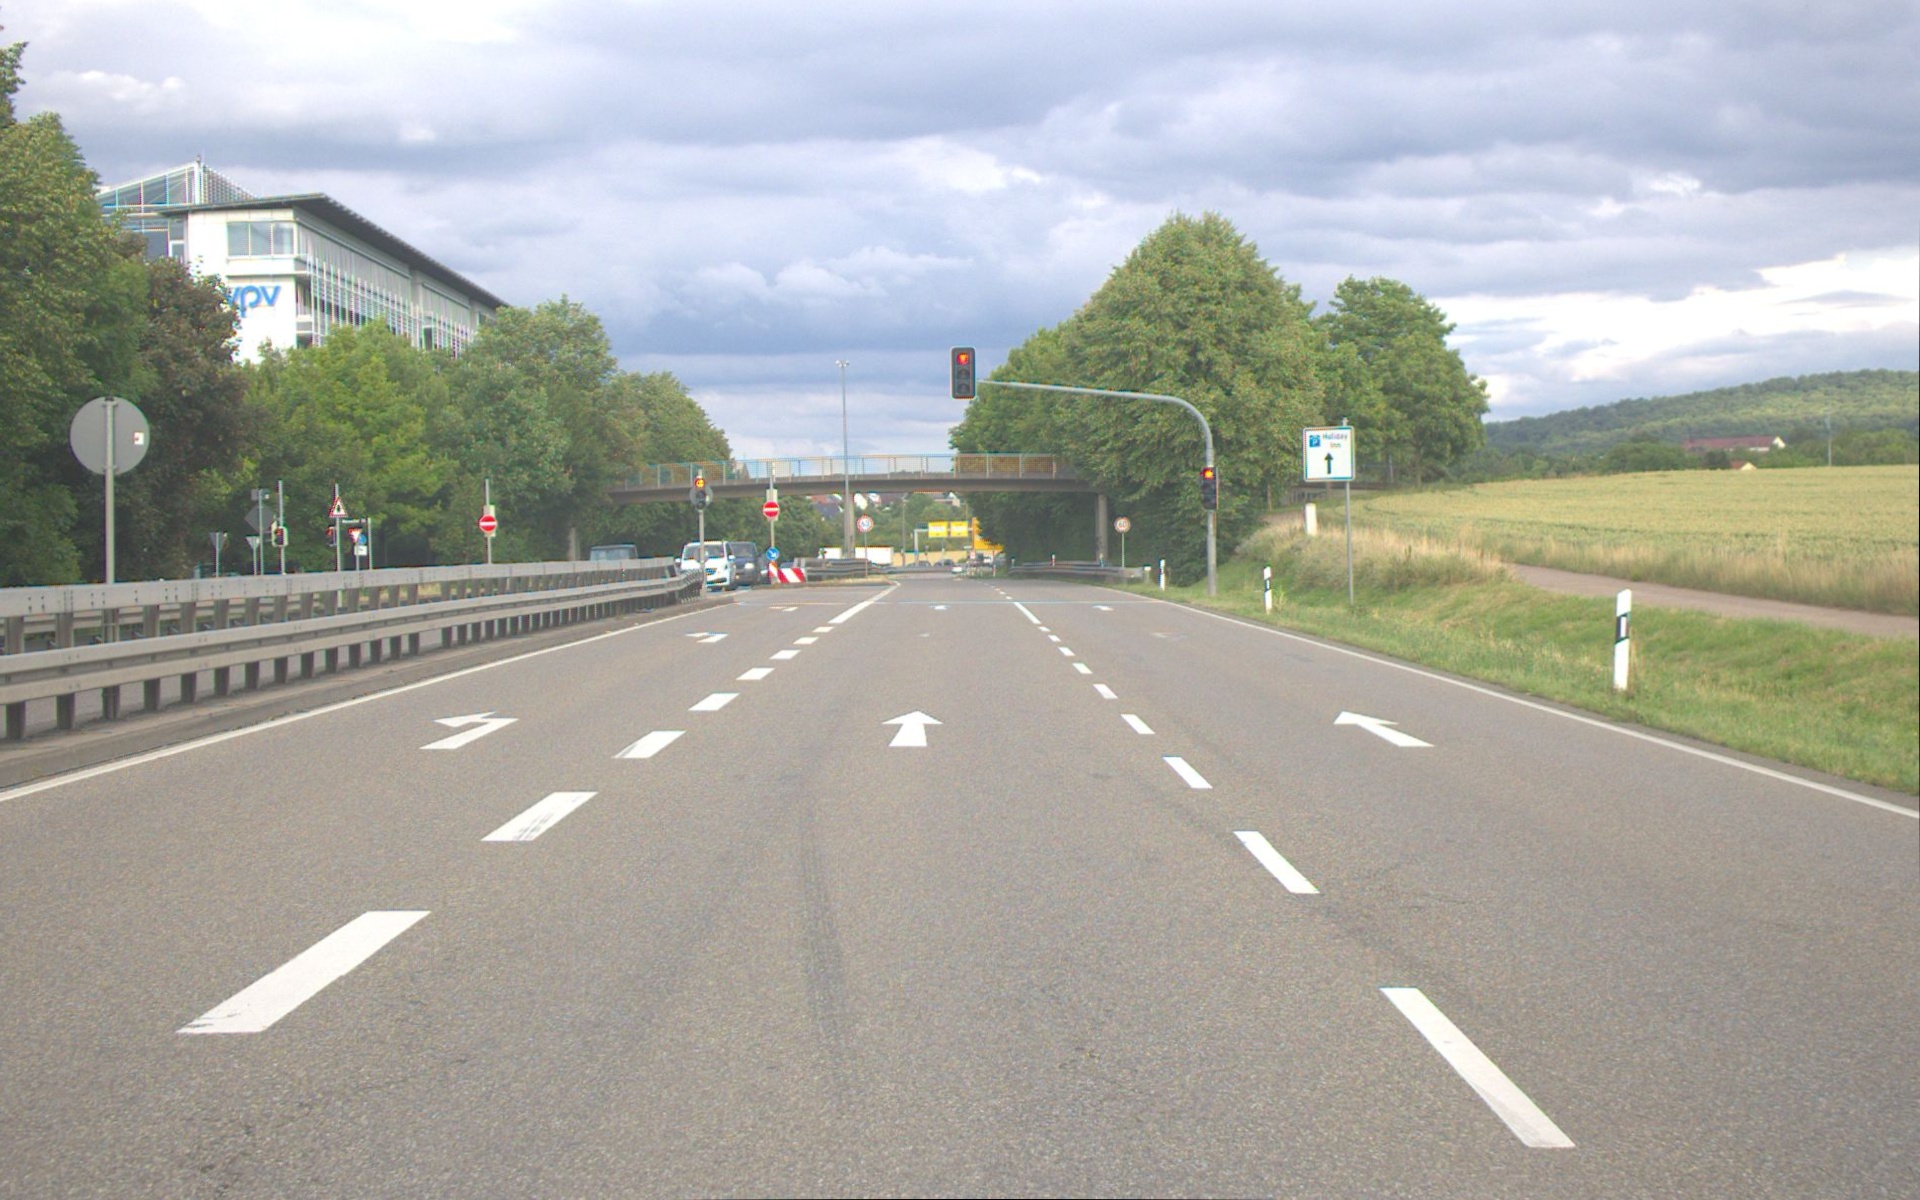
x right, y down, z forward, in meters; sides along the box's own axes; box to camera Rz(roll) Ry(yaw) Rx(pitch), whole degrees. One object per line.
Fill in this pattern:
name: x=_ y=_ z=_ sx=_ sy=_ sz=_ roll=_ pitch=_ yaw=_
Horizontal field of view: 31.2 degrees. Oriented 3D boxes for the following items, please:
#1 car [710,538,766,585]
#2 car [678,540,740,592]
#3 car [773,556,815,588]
car: x=-9.082 y=-1.590 z=140.951 sx=1.993 sy=1.867 sz=4.737 roll=-1 pitch=1 yaw=0
car: x=-9.344 y=-1.280 z=128.221 sx=1.948 sy=1.867 sz=4.737 roll=-1 pitch=1 yaw=0
car: x=-6.074 y=-1.036 z=126.201 sx=1.358 sy=1.088 sz=2.922 roll=-1 pitch=1 yaw=1
